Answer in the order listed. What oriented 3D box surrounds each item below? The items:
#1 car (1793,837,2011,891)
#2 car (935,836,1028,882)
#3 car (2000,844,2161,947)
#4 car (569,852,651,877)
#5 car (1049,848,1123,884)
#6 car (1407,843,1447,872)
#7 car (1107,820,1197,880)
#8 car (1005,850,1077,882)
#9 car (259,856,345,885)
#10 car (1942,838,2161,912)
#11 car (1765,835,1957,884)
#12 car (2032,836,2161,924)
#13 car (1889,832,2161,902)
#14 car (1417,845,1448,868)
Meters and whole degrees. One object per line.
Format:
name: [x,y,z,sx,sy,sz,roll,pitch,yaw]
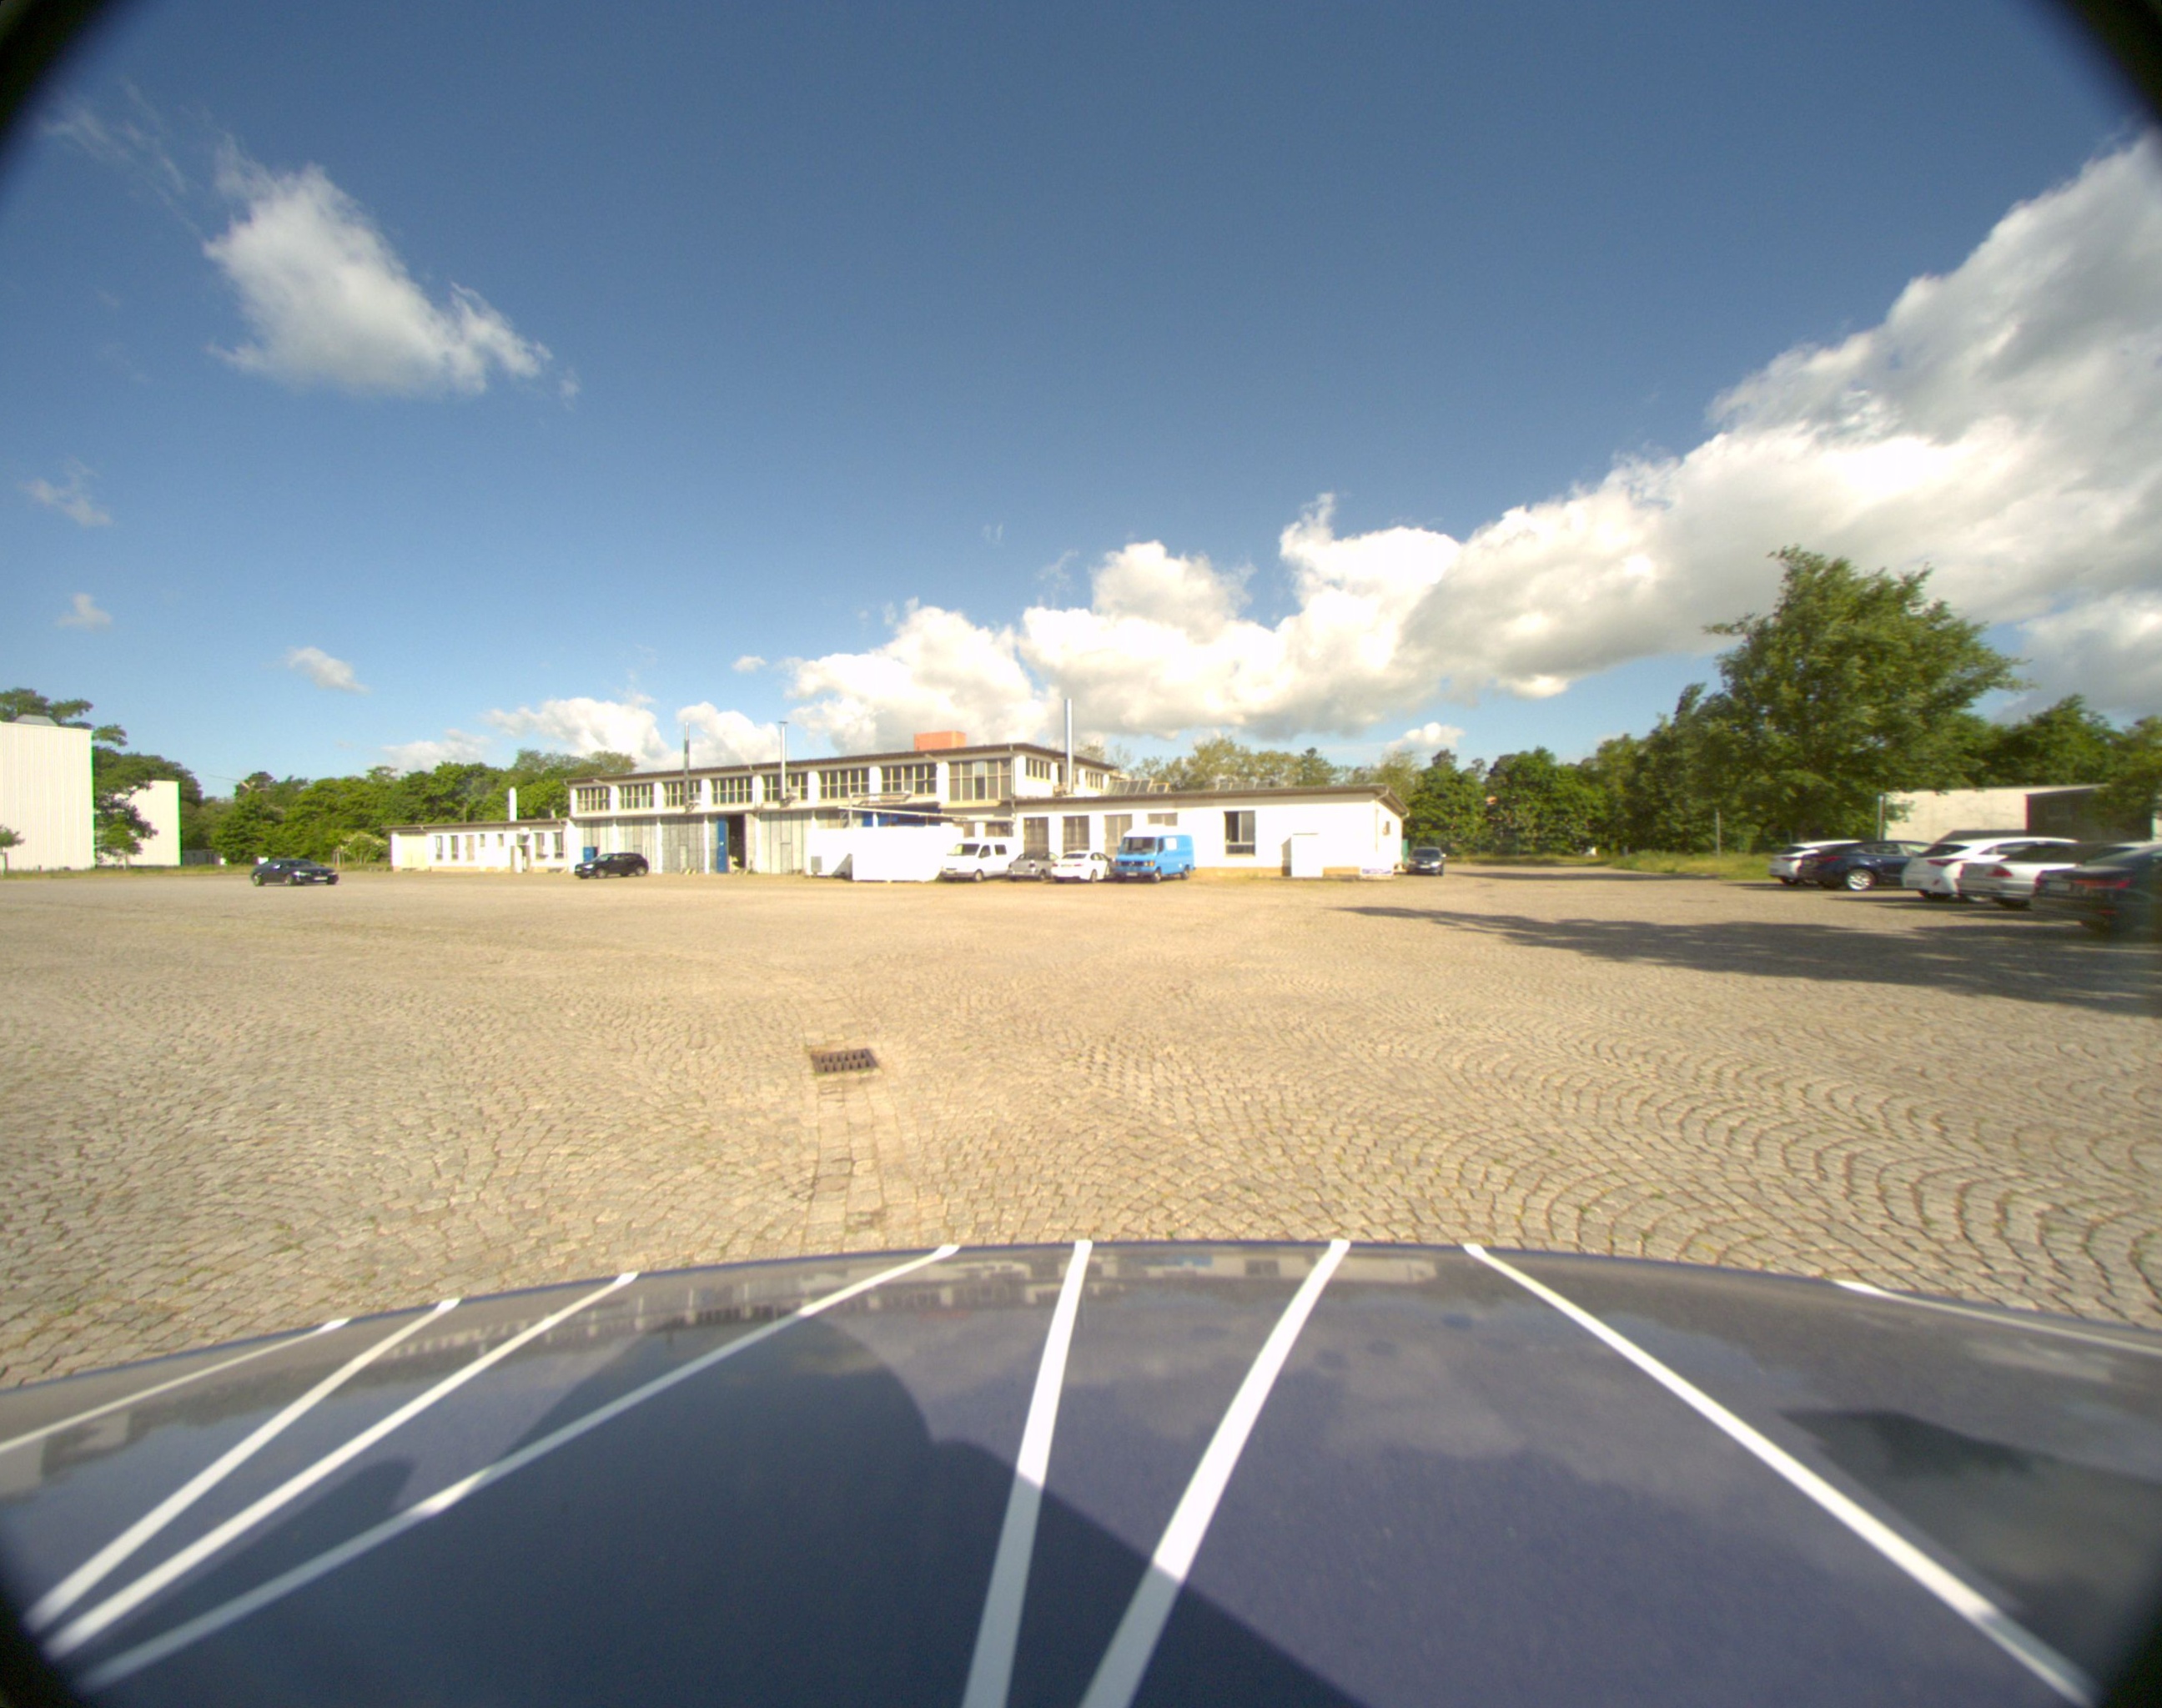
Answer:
car: [23.557,0.306,22.020,3.915,1.409,1.695,-2,0,26]
car: [-4.742,0.184,36.964,2.004,2.070,4.813,0,1,29]
car: [17.003,0.539,10.790,4.723,1.414,1.760,-2,0,25]
car: [-29.840,0.653,48.277,1.736,1.461,4.083,-1,1,24]
car: [0.279,0.510,34.162,1.733,1.398,3.744,-1,2,28]
car: [18.158,0.145,39.799,1.764,1.427,3.999,0,1,26]
car: [3.299,-0.201,33.964,2.084,2.469,5.248,0,1,29]
car: [-1.829,0.542,36.240,1.688,1.390,3.838,0,1,28]
car: [-40.573,0.859,39.571,4.066,1.421,1.743,-1,1,23]
car: [20.209,0.401,14.977,3.915,1.364,1.731,-2,0,26]
car: [24.772,0.192,24.335,3.915,1.427,1.799,-2,0,26]
car: [19.435,0.389,12.653,4.141,1.451,1.694,-2,0,31]
car: [21.451,0.307,17.229,3.915,1.438,1.759,-2,0,26]
car: [22.605,0.114,48.809,1.688,1.427,3.993,0,1,26]
